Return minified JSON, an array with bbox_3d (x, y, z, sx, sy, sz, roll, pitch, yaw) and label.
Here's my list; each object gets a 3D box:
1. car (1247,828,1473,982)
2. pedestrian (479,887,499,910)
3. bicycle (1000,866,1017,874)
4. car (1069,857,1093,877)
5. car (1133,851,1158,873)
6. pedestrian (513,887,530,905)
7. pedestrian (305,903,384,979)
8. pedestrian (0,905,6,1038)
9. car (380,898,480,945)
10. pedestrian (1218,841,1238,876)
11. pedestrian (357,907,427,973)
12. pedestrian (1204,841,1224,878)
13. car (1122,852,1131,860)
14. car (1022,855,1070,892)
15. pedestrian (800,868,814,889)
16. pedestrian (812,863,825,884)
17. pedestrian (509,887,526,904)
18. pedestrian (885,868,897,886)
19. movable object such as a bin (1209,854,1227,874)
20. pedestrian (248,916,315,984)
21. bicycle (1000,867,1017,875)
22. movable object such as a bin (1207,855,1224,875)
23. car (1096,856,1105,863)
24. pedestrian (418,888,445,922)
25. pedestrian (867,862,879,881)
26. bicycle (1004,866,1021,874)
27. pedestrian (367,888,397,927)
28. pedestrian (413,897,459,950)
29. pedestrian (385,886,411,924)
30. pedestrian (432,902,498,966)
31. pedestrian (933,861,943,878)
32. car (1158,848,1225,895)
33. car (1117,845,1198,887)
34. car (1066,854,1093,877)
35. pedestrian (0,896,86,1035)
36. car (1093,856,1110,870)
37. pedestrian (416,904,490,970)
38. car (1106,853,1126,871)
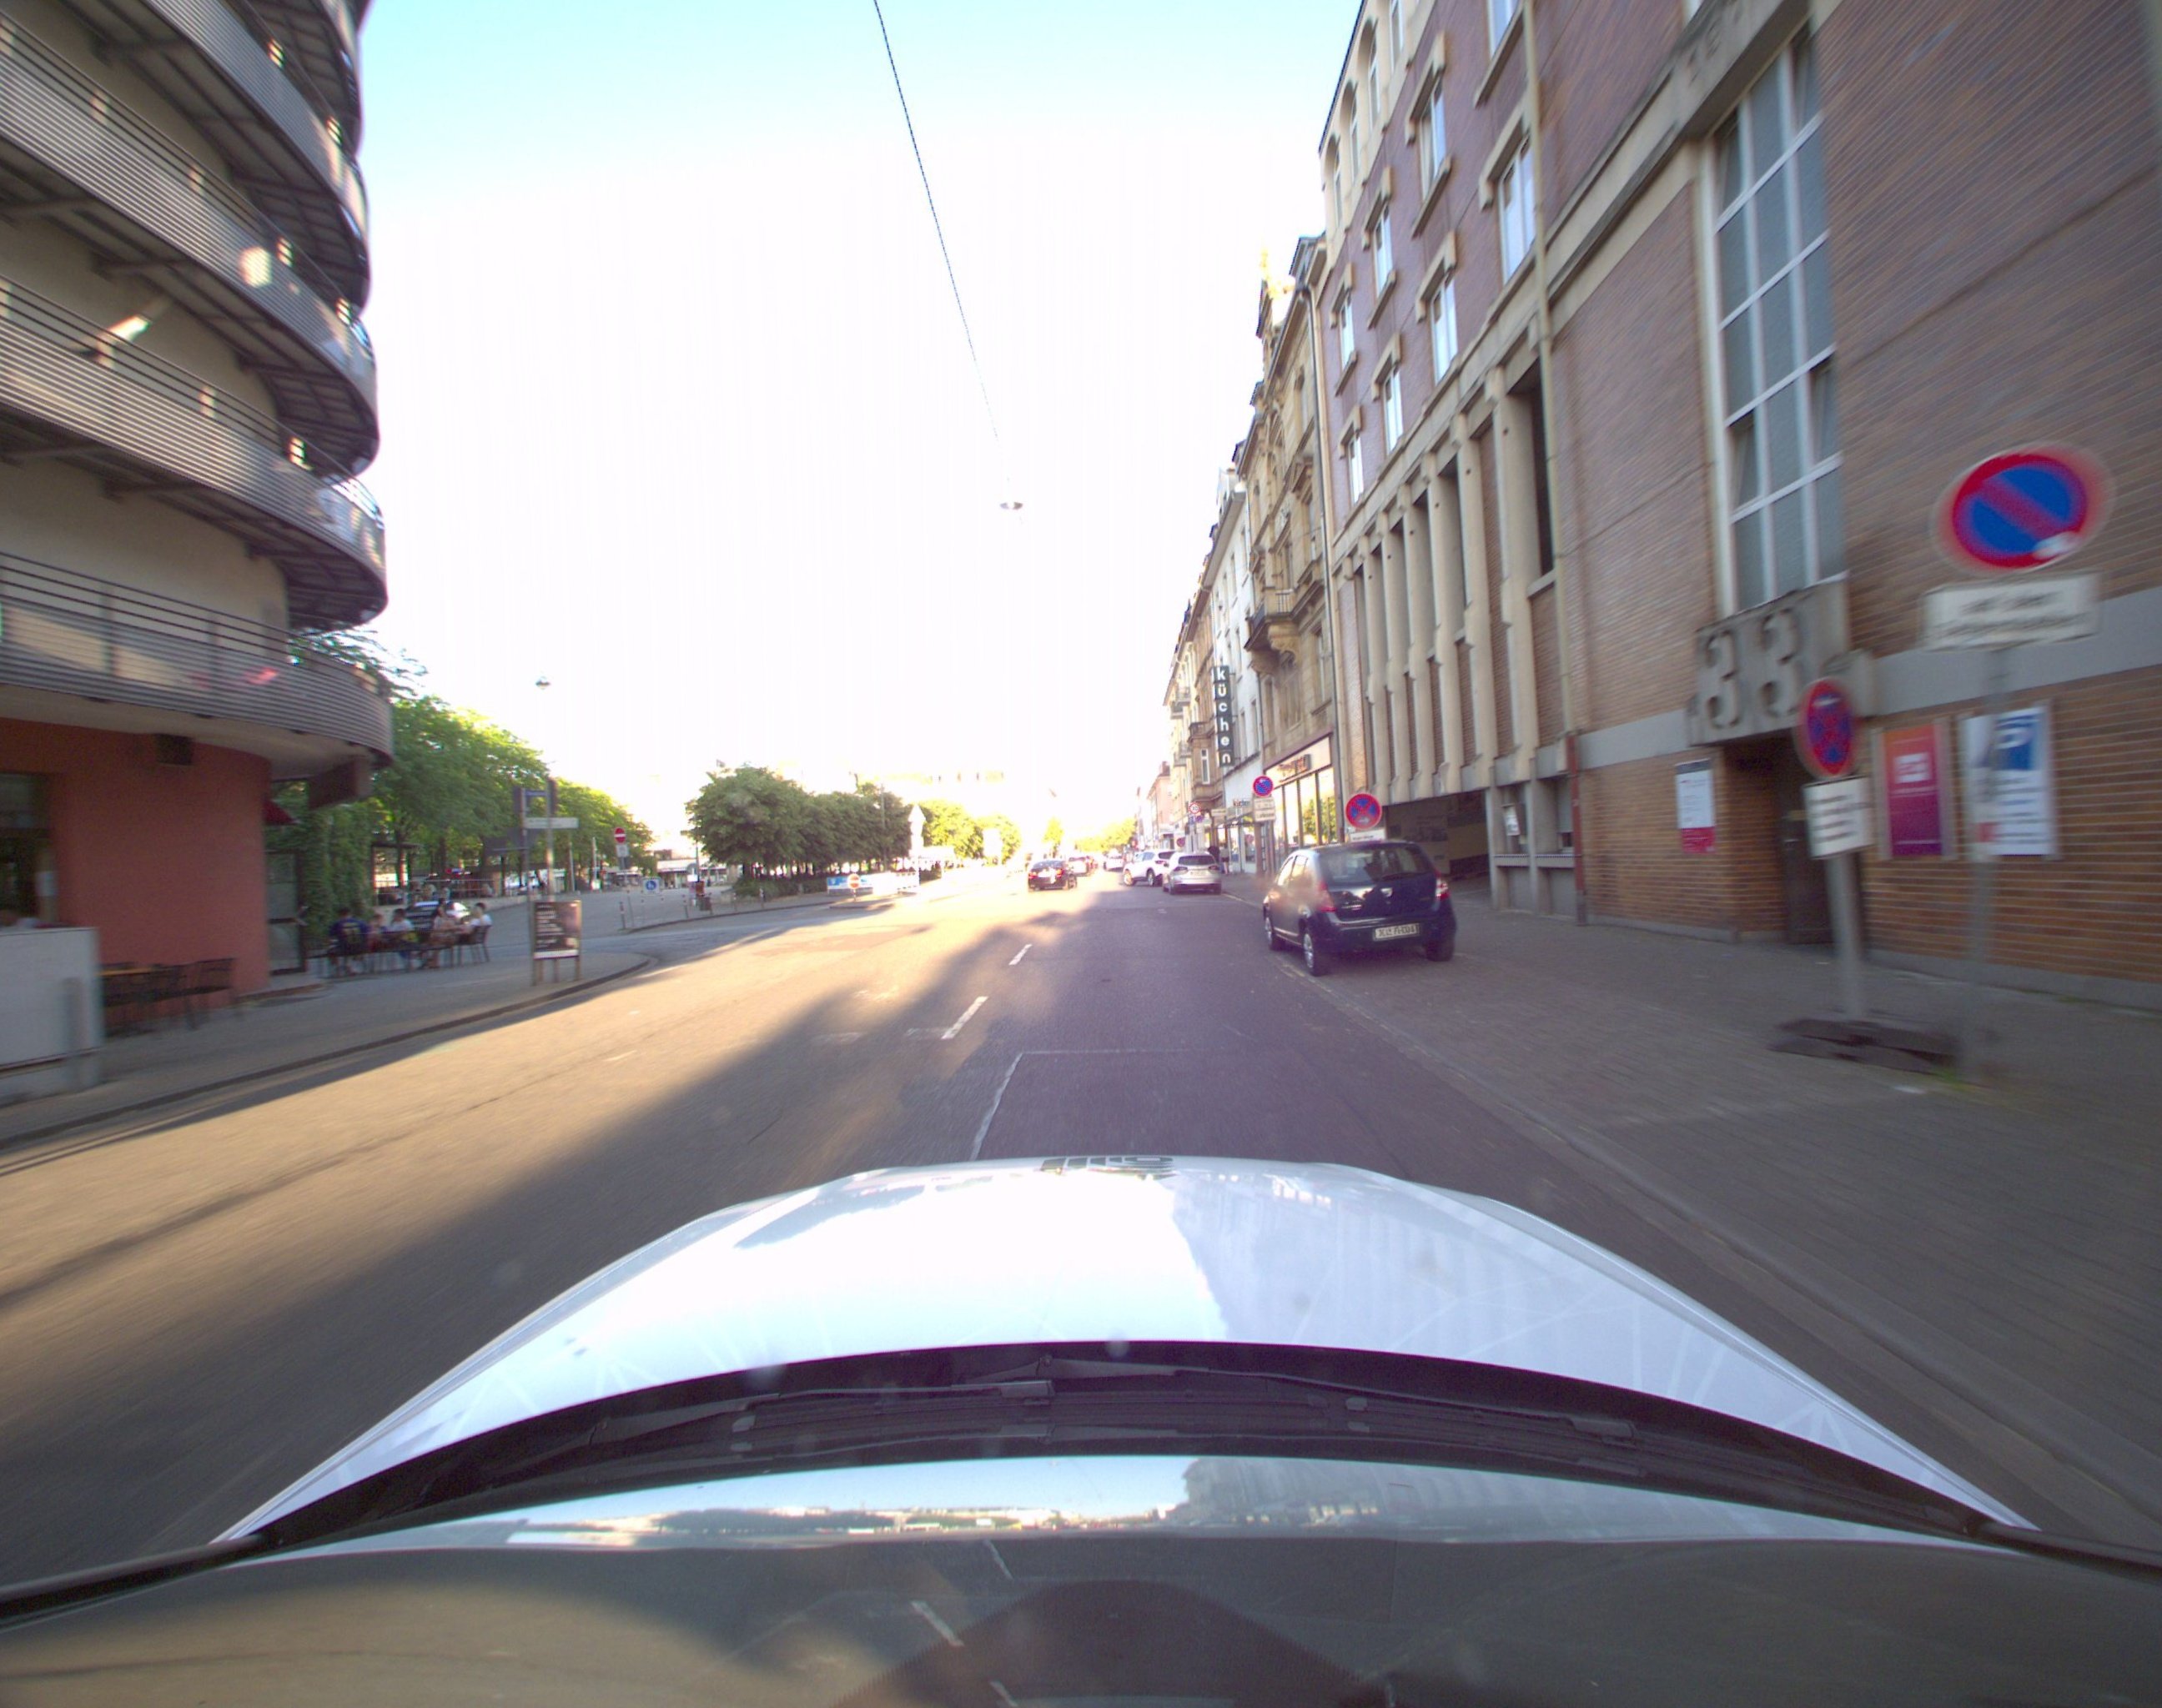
[{"bbox_3d":[3.495,0.571,11.030,1.752,1.536,4.003,-6,0,3],"label":"car"},{"bbox_3d":[-34.190,2.551,47.036,0.792,1.279,0.649,-3,-2,-23],"label":"pedestrian"},{"bbox_3d":[-7.893,1.781,89.204,1.820,0.853,0.483,0,-1,-2],"label":"bicycle"},{"bbox_3d":[0.007,1.090,70.102,1.890,1.649,4.105,-3,0,1],"label":"car"},{"bbox_3d":[5.022,0.662,63.751,1.723,1.651,4.287,-1,-1,3],"label":"car"},{"bbox_3d":[-36.458,2.741,53.073,0.716,1.120,0.606,-3,0,-23],"label":"pedestrian"},{"bbox_3d":[-14.218,1.659,15.738,0.745,1.348,0.828,-3,-2,-4],"label":"pedestrian"},{"bbox_3d":[-13.387,1.426,9.574,0.670,1.595,0.598,-4,-2,2],"label":"pedestrian"},{"bbox_3d":[-23.322,2.366,29.366,2.006,1.317,4.486,-4,0,-29],"label":"car"},{"bbox_3d":[7.521,0.245,41.732,0.770,1.711,1.042,-5,0,1],"label":"pedestrian"},{"bbox_3d":[-14.235,1.761,16.845,0.720,1.247,0.828,-3,-2,-4],"label":"pedestrian"},{"bbox_3d":[6.797,0.266,41.616,0.770,1.827,1.011,-5,0,1],"label":"pedestrian"},{"bbox_3d":[10.240,0.503,182.492,1.890,1.581,3.853,-3,0,2],"label":"car"},{"bbox_3d":[-1.585,0.866,37.858,1.889,1.581,4.001,-1,0,2],"label":"car"},{"bbox_3d":[-21.340,1.900,63.377,0.783,1.595,0.571,-2,0,21],"label":"pedestrian"},{"bbox_3d":[-20.329,1.497,63.149,0.671,1.595,0.571,-2,0,21],"label":"pedestrian"},{"bbox_3d":[-36.152,2.666,52.231,0.716,1.059,0.606,-3,0,-23],"label":"pedestrian"},{"bbox_3d":[-17.065,2.062,73.222,0.671,1.595,0.680,-2,0,21],"label":"pedestrian"},{"bbox_3d":[7.614,0.561,45.275,0.771,1.070,0.618,-5,-1,1],"label":"movable object such as a bin"},{"bbox_3d":[-15.808,1.883,16.112,0.619,1.247,0.700,-3,-2,-7],"label":"pedestrian"},{"bbox_3d":[-7.680,1.768,86.481,1.820,0.853,0.483,0,-1,-2],"label":"bicycle"},{"bbox_3d":[7.609,0.629,46.082,0.771,1.070,0.618,-5,-1,1],"label":"movable object such as a bin"},{"bbox_3d":[4.454,1.159,186.301,1.773,1.547,4.001,-3,0,1],"label":"car"},{"bbox_3d":[-31.275,2.443,39.222,0.792,1.586,0.649,-3,-2,-23],"label":"pedestrian"},{"bbox_3d":[-17.888,1.536,70.114,0.671,1.595,0.680,-2,0,21],"label":"pedestrian"},{"bbox_3d":[-7.388,1.773,88.278,1.820,0.853,0.483,0,-1,-2],"label":"bicycle"},{"bbox_3d":[-29.178,2.226,34.011,0.690,1.586,0.764,-3,-2,-21],"label":"pedestrian"},{"bbox_3d":[-20.675,2.204,26.122,0.901,1.566,0.762,-3,0,-23],"label":"pedestrian"},{"bbox_3d":[-29.700,2.219,35.424,0.622,1.586,0.696,-3,-2,-21],"label":"pedestrian"},{"bbox_3d":[-13.159,1.699,17.418,0.826,1.273,0.747,-3,-2,-7],"label":"pedestrian"},{"bbox_3d":[-14.413,1.555,82.131,0.783,1.595,0.571,-2,0,21],"label":"pedestrian"},{"bbox_3d":[3.915,0.605,29.585,1.753,1.536,4.821,-1,-1,0],"label":"car"},{"bbox_3d":[3.518,0.563,38.227,2.000,1.761,4.435,-3,0,-20],"label":"car"},{"bbox_3d":[-0.102,0.865,63.214,1.890,1.649,4.106,-3,0,2],"label":"car"},{"bbox_3d":[-12.819,1.335,9.877,0.594,1.595,0.702,-4,-2,3],"label":"pedestrian"},{"bbox_3d":[2.274,0.980,91.418,1.889,1.581,3.853,0,0,2],"label":"car"},{"bbox_3d":[-12.900,1.692,16.762,0.896,1.242,0.766,-3,-2,-7],"label":"pedestrian"},{"bbox_3d":[3.321,0.755,77.775,1.889,1.581,4.001,-1,0,2],"label":"car"}]
